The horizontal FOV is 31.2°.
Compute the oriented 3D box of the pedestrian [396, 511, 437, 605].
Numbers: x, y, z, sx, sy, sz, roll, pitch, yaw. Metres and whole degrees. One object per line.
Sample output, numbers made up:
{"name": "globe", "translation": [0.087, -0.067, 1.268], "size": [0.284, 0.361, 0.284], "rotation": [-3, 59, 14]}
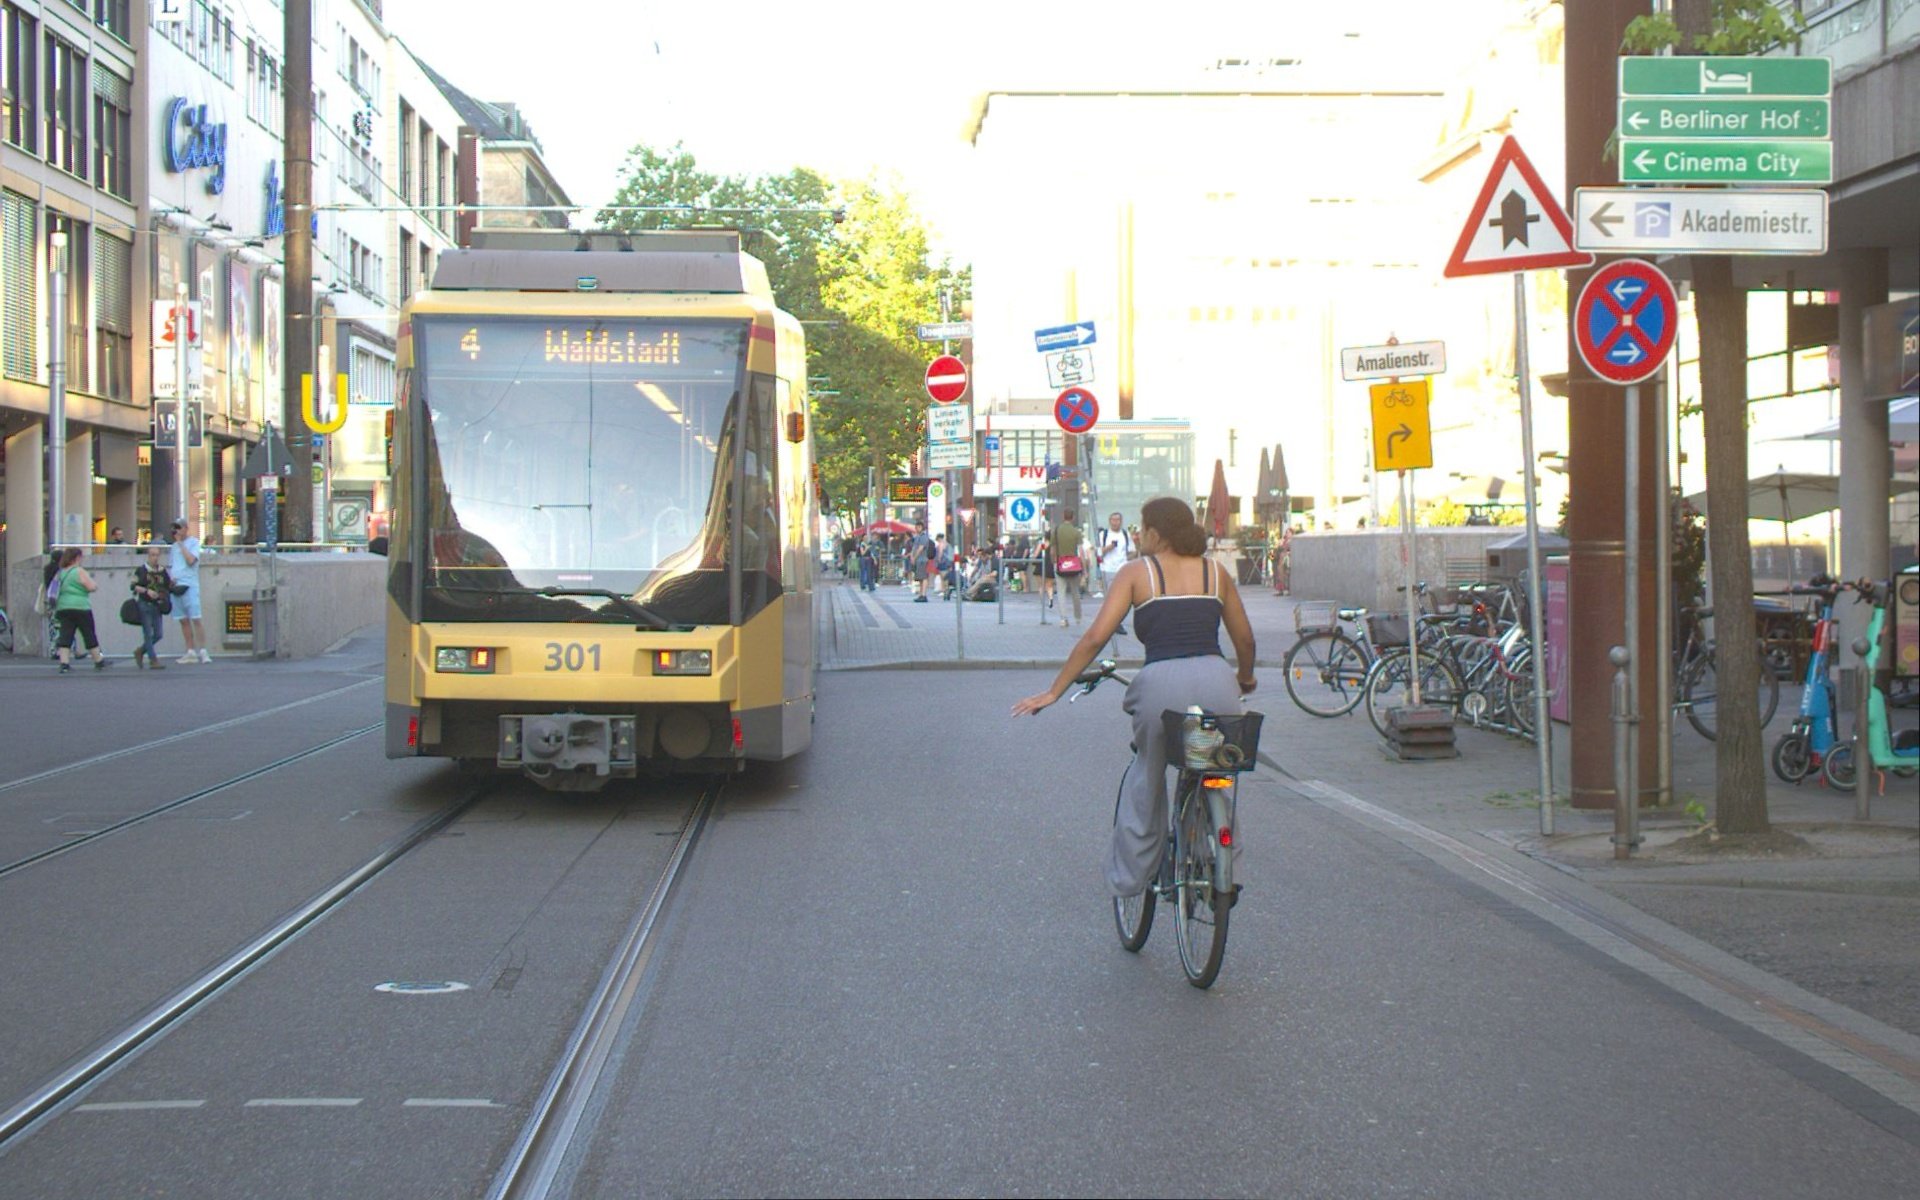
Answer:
{"name": "pedestrian", "translation": [-9.831, -0.756, 62.218], "size": [0.713, 1.692, 0.786], "rotation": [0, 0, -8]}

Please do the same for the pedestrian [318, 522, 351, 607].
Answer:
{"name": "pedestrian", "translation": [-11.777, -0.665, 64.751], "size": [0.603, 1.583, 0.628], "rotation": [0, 0, -11]}

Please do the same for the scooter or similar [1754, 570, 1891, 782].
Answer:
{"name": "scooter or similar", "translation": [5.363, 0.454, 21.348], "size": [0.393, 1.247, 1.189], "rotation": [0, 2, 36]}

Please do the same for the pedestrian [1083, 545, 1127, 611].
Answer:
{"name": "pedestrian", "translation": [3.667, -0.559, 86.750], "size": [0.767, 1.655, 0.794], "rotation": [-1, 1, -43]}

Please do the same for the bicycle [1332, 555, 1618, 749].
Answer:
{"name": "bicycle", "translation": [3.779, 0.371, 25.273], "size": [1.914, 1.328, 0.726], "rotation": [-2, 1, -6]}

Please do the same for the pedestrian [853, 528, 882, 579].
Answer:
{"name": "pedestrian", "translation": [-3.026, -1.523, 112.540], "size": [0.792, 1.655, 0.769], "rotation": [0, 1, 10]}

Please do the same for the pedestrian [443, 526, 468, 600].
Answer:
{"name": "pedestrian", "translation": [-10.916, -0.799, 74.409], "size": [0.511, 1.612, 0.505], "rotation": [0, 0, -11]}

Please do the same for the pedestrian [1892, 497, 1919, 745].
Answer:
{"name": "pedestrian", "translation": [7.015, 0.139, 23.942], "size": [0.763, 1.713, 0.923], "rotation": [-1, 0, -1]}

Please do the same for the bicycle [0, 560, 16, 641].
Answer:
{"name": "bicycle", "translation": [-13.613, 0.022, 47.601], "size": [0.498, 1.104, 1.800], "rotation": [0, 2, 3]}

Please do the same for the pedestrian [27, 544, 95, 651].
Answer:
{"name": "pedestrian", "translation": [-12.079, -0.035, 46.175], "size": [0.555, 1.429, 0.684], "rotation": [0, 0, 36]}

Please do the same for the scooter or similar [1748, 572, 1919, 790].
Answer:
{"name": "scooter or similar", "translation": [5.338, 0.474, 20.726], "size": [1.187, 1.247, 0.393], "rotation": [-2, 2, -31]}

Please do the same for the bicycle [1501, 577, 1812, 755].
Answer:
{"name": "bicycle", "translation": [4.920, 0.453, 24.341], "size": [1.995, 1.151, 0.726], "rotation": [-2, 1, -6]}

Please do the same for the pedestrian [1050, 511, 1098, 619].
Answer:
{"name": "pedestrian", "translation": [1.822, -0.555, 54.880], "size": [0.718, 1.719, 0.709], "rotation": [0, 0, -2]}

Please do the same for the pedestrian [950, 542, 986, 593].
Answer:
{"name": "pedestrian", "translation": [0.192, -0.794, 82.928], "size": [0.792, 1.217, 0.769], "rotation": [0, 1, -5]}

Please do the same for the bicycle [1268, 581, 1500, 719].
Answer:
{"name": "bicycle", "translation": [3.619, 0.419, 29.412], "size": [1.852, 1.105, 0.667], "rotation": [-1, 1, -4]}

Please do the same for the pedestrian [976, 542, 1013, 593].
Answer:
{"name": "pedestrian", "translation": [0.823, -0.776, 82.140], "size": [0.792, 1.217, 0.769], "rotation": [0, 1, -5]}

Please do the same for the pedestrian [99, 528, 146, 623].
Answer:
{"name": "pedestrian", "translation": [-15.344, -0.452, 62.992], "size": [0.713, 1.719, 0.709], "rotation": [0, 0, -3]}

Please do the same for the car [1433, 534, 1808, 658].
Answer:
{"name": "car", "translation": [7.766, -0.045, 40.667], "size": [4.038, 1.404, 1.776], "rotation": [1, 0, -3]}

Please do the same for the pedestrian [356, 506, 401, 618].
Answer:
{"name": "pedestrian", "translation": [-9.993, -0.649, 59.097], "size": [0.713, 1.918, 0.709], "rotation": [0, 0, -7]}

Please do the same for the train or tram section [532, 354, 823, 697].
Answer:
{"name": "train or tram section", "translation": [-3.020, -0.876, 40.515], "size": [2.800, 3.308, 14.510], "rotation": [0, 1, -2]}

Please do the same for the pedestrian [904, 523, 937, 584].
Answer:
{"name": "pedestrian", "translation": [-1.095, -1.288, 94.938], "size": [0.792, 1.655, 0.769], "rotation": [0, 1, 10]}

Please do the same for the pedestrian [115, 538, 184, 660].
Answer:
{"name": "pedestrian", "translation": [-10.245, -0.010, 43.489], "size": [0.684, 1.536, 0.605], "rotation": [0, 0, 6]}

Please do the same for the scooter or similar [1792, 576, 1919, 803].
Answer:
{"name": "scooter or similar", "translation": [5.404, 0.502, 19.887], "size": [1.112, 1.247, 0.497], "rotation": [-2, 2, -32]}

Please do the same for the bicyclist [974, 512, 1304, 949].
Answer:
{"name": "bicyclist", "translation": [0.625, 0.446, 12.336], "size": [0.996, 1.497, 0.857], "rotation": [1, 1, -8]}

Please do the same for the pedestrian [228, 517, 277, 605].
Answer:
{"name": "pedestrian", "translation": [-12.790, -0.707, 62.148], "size": [0.626, 1.583, 0.605], "rotation": [0, 0, -44]}

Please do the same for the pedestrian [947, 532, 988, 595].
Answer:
{"name": "pedestrian", "translation": [0.193, -0.933, 87.033], "size": [0.768, 1.573, 0.793], "rotation": [1, 1, 28]}

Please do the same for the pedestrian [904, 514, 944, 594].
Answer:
{"name": "pedestrian", "translation": [-0.835, -1.066, 79.177], "size": [0.733, 1.817, 0.820], "rotation": [0, 1, -16]}

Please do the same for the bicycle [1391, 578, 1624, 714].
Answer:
{"name": "bicycle", "translation": [4.704, 0.386, 29.583], "size": [1.852, 1.105, 0.667], "rotation": [-1, 1, -4]}

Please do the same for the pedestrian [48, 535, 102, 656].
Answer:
{"name": "pedestrian", "translation": [-11.029, -0.058, 42.861], "size": [0.603, 1.489, 0.555], "rotation": [0, 0, -10]}

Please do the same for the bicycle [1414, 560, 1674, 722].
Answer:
{"name": "bicycle", "translation": [4.755, 0.326, 28.047], "size": [1.914, 1.218, 0.763], "rotation": [-2, 1, -6]}

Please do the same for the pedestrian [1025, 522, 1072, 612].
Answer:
{"name": "pedestrian", "translation": [1.794, -0.677, 69.787], "size": [0.733, 1.817, 0.820], "rotation": [0, 1, -16]}

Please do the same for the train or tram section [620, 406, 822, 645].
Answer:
{"name": "train or tram section", "translation": [-3.607, -1.190, 55.043], "size": [2.800, 3.308, 14.510], "rotation": [0, 1, -2]}

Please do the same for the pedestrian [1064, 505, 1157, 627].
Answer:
{"name": "pedestrian", "translation": [2.314, -0.526, 52.920], "size": [1.013, 1.857, 1.043], "rotation": [0, 1, -28]}

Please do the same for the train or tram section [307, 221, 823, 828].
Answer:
{"name": "train or tram section", "translation": [-2.443, -0.565, 26.022], "size": [2.800, 3.308, 14.510], "rotation": [0, 1, -2]}

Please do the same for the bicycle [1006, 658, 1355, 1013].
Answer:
{"name": "bicycle", "translation": [0.742, 0.796, 12.358], "size": [0.815, 1.069, 2.114], "rotation": [1, 1, -8]}

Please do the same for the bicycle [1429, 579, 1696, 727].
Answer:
{"name": "bicycle", "translation": [4.777, 0.410, 27.302], "size": [1.914, 1.074, 0.763], "rotation": [-2, 1, -6]}

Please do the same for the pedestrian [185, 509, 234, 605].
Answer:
{"name": "pedestrian", "translation": [-13.465, -0.764, 61.656], "size": [0.605, 1.719, 0.626], "rotation": [0, 0, 45]}

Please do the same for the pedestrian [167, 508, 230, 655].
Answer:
{"name": "pedestrian", "translation": [-10.035, -0.242, 45.319], "size": [0.773, 1.919, 0.709], "rotation": [0, 0, -10]}
